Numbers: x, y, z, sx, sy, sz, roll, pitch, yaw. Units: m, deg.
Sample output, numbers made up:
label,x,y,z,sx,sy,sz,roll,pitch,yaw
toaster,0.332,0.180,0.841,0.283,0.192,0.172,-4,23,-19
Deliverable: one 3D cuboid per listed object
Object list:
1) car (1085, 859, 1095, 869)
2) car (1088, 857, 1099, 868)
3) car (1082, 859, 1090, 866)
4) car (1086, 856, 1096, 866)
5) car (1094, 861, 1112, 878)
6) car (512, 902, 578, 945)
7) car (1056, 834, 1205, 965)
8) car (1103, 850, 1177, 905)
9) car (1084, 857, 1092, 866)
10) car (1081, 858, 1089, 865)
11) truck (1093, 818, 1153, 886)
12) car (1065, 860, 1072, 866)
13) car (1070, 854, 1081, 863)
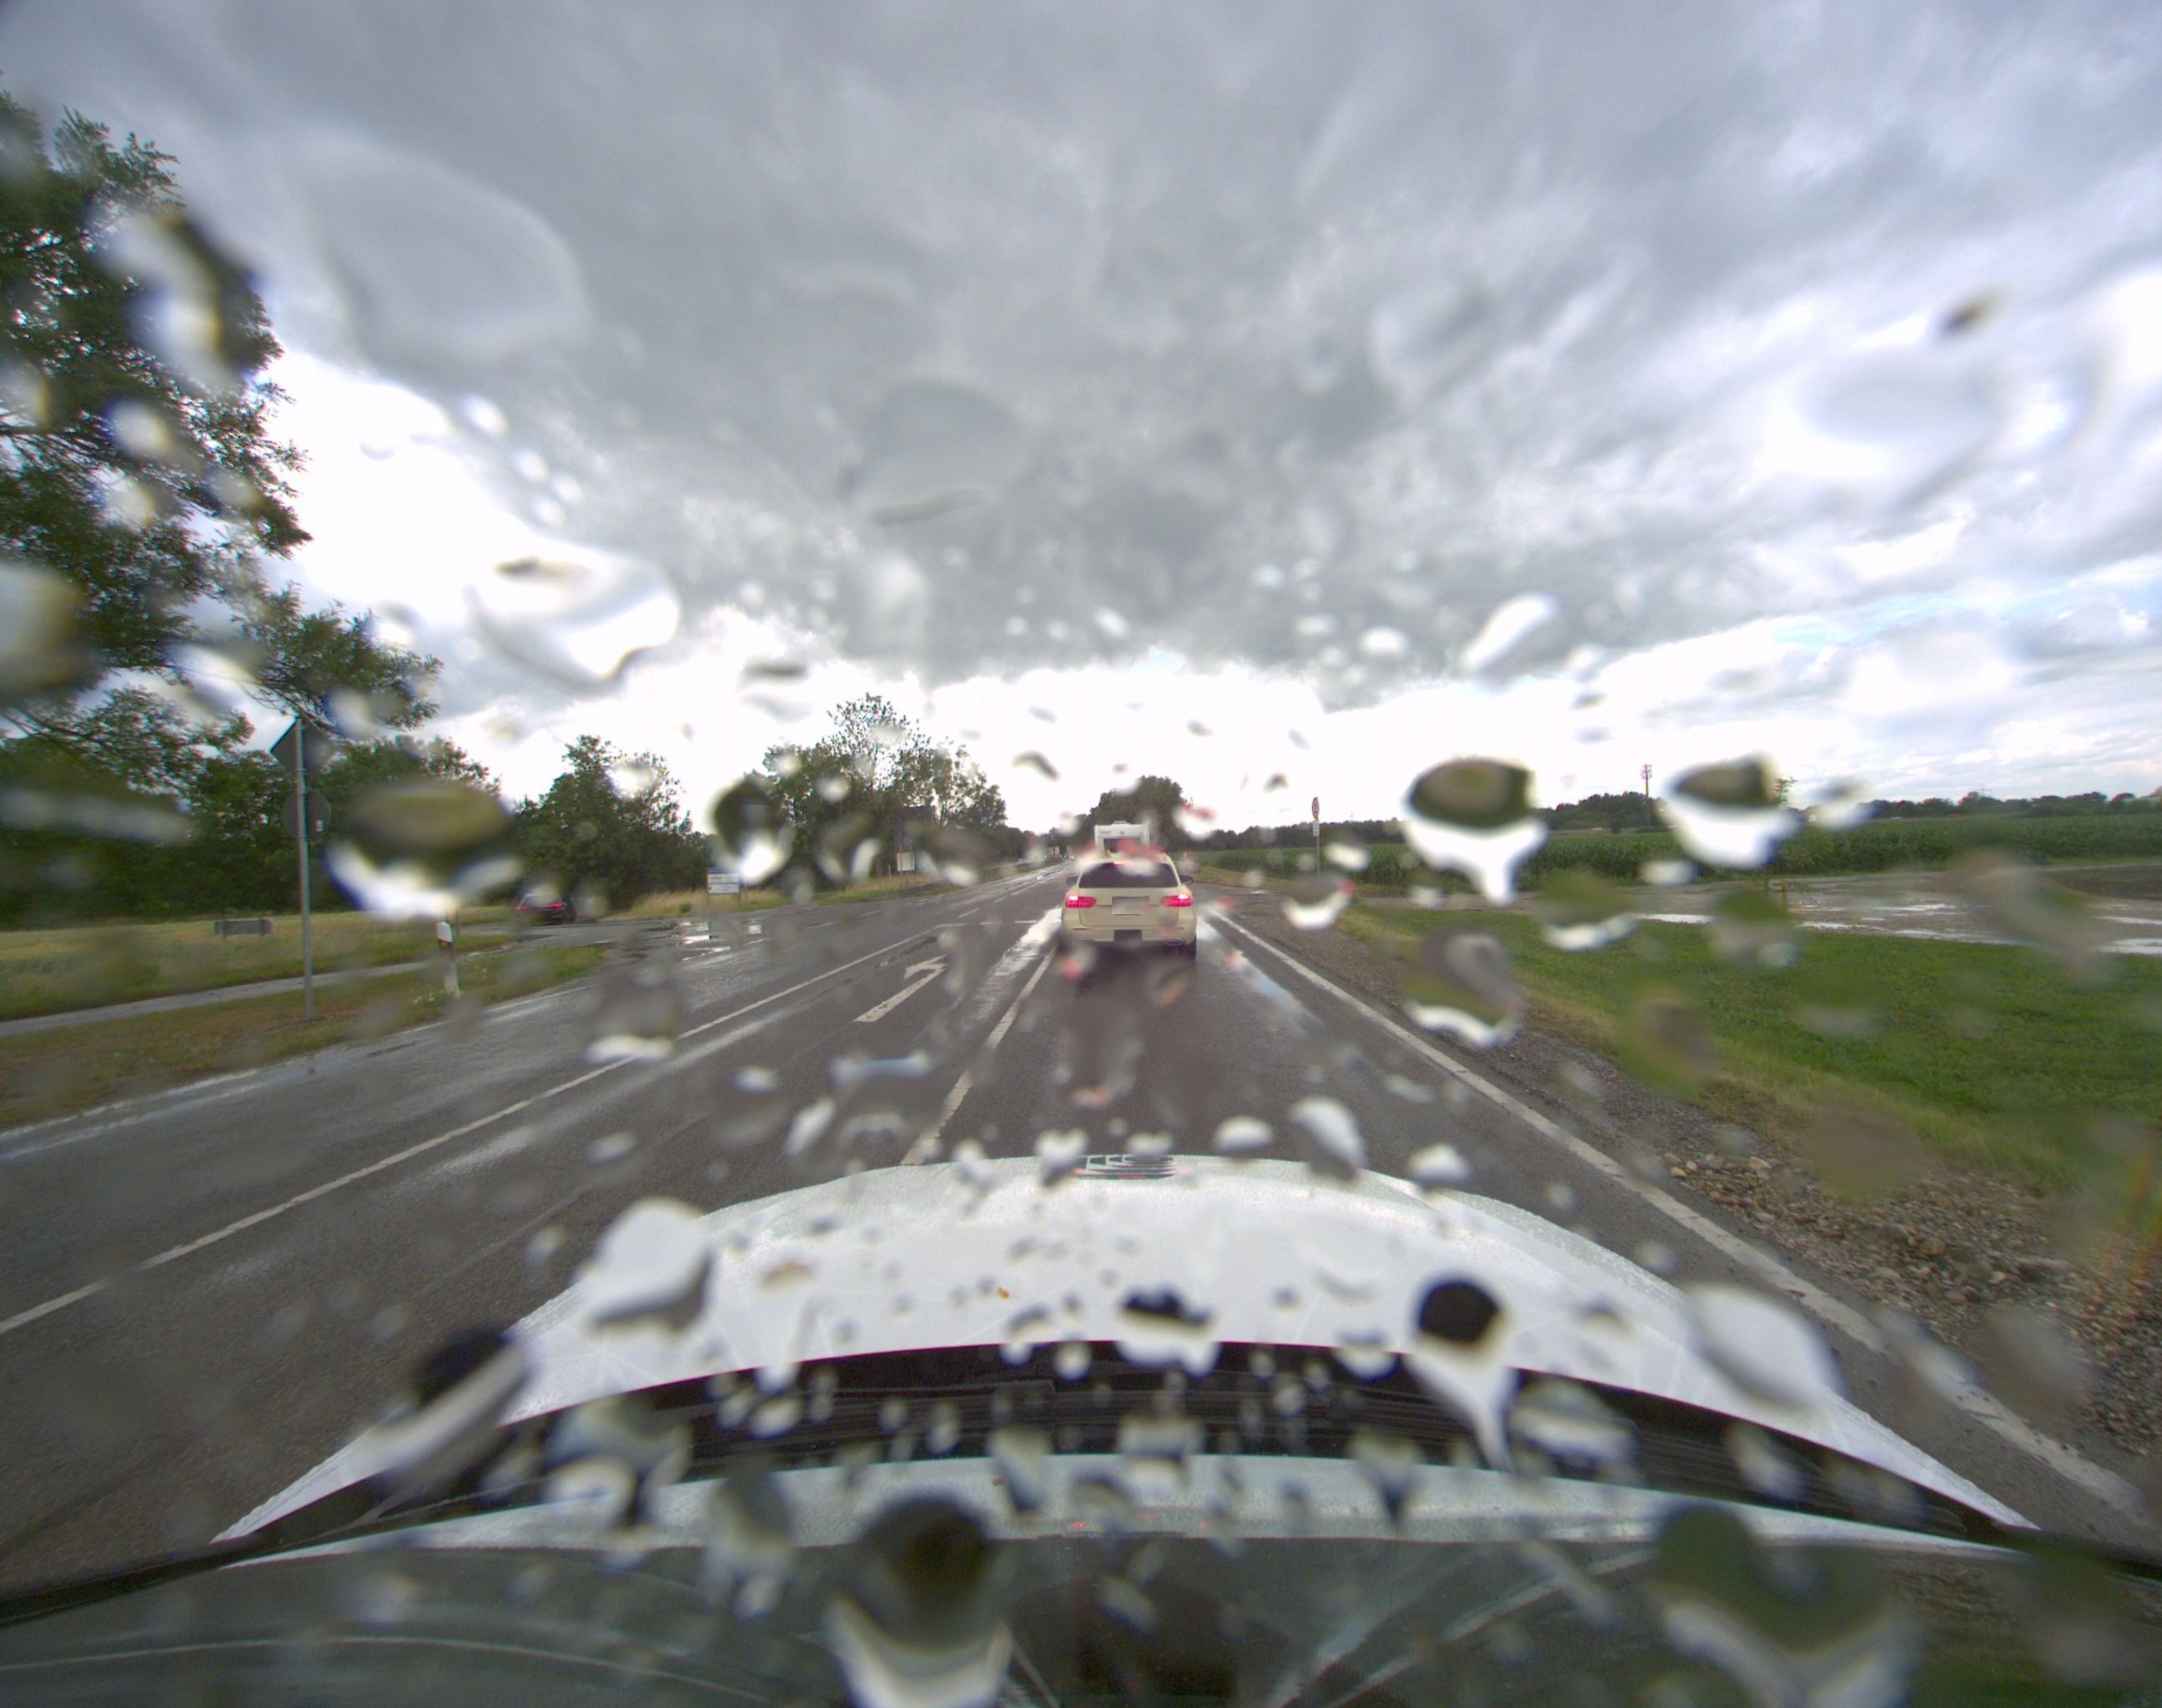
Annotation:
label,x,y,z,sx,sy,sz,roll,pitch,yaw
car,1.852,2.063,164.764,1.845,2.013,3.812,-2,-1,2
car,2.066,1.464,136.220,1.784,1.777,3.722,-2,-1,2
car,1.249,2.035,204.123,1.745,1.662,3.668,-2,0,-3
car,1.910,1.278,154.499,1.872,1.761,3.835,-2,0,2
car,2.483,1.699,91.732,1.909,1.841,3.796,-2,0,1
car,-23.987,3.032,36.452,2.318,1.547,4.583,0,-1,-34
car,0.685,0.584,12.220,1.836,1.618,4.001,-1,-1,2
car,1.652,0.658,23.955,1.986,1.462,4.001,0,-1,2
car,1.753,1.756,190.833,1.733,1.860,3.786,-2,0,2
car,0.931,1.924,212.188,1.890,1.895,3.841,-2,-1,-1
truck,1.842,-0.070,37.171,2.354,2.729,7.317,-2,0,2
car,-3.104,2.281,205.093,1.574,1.640,3.442,-2,-1,1
car,-1.069,0.801,149.688,1.821,1.574,4.002,0,-1,2
